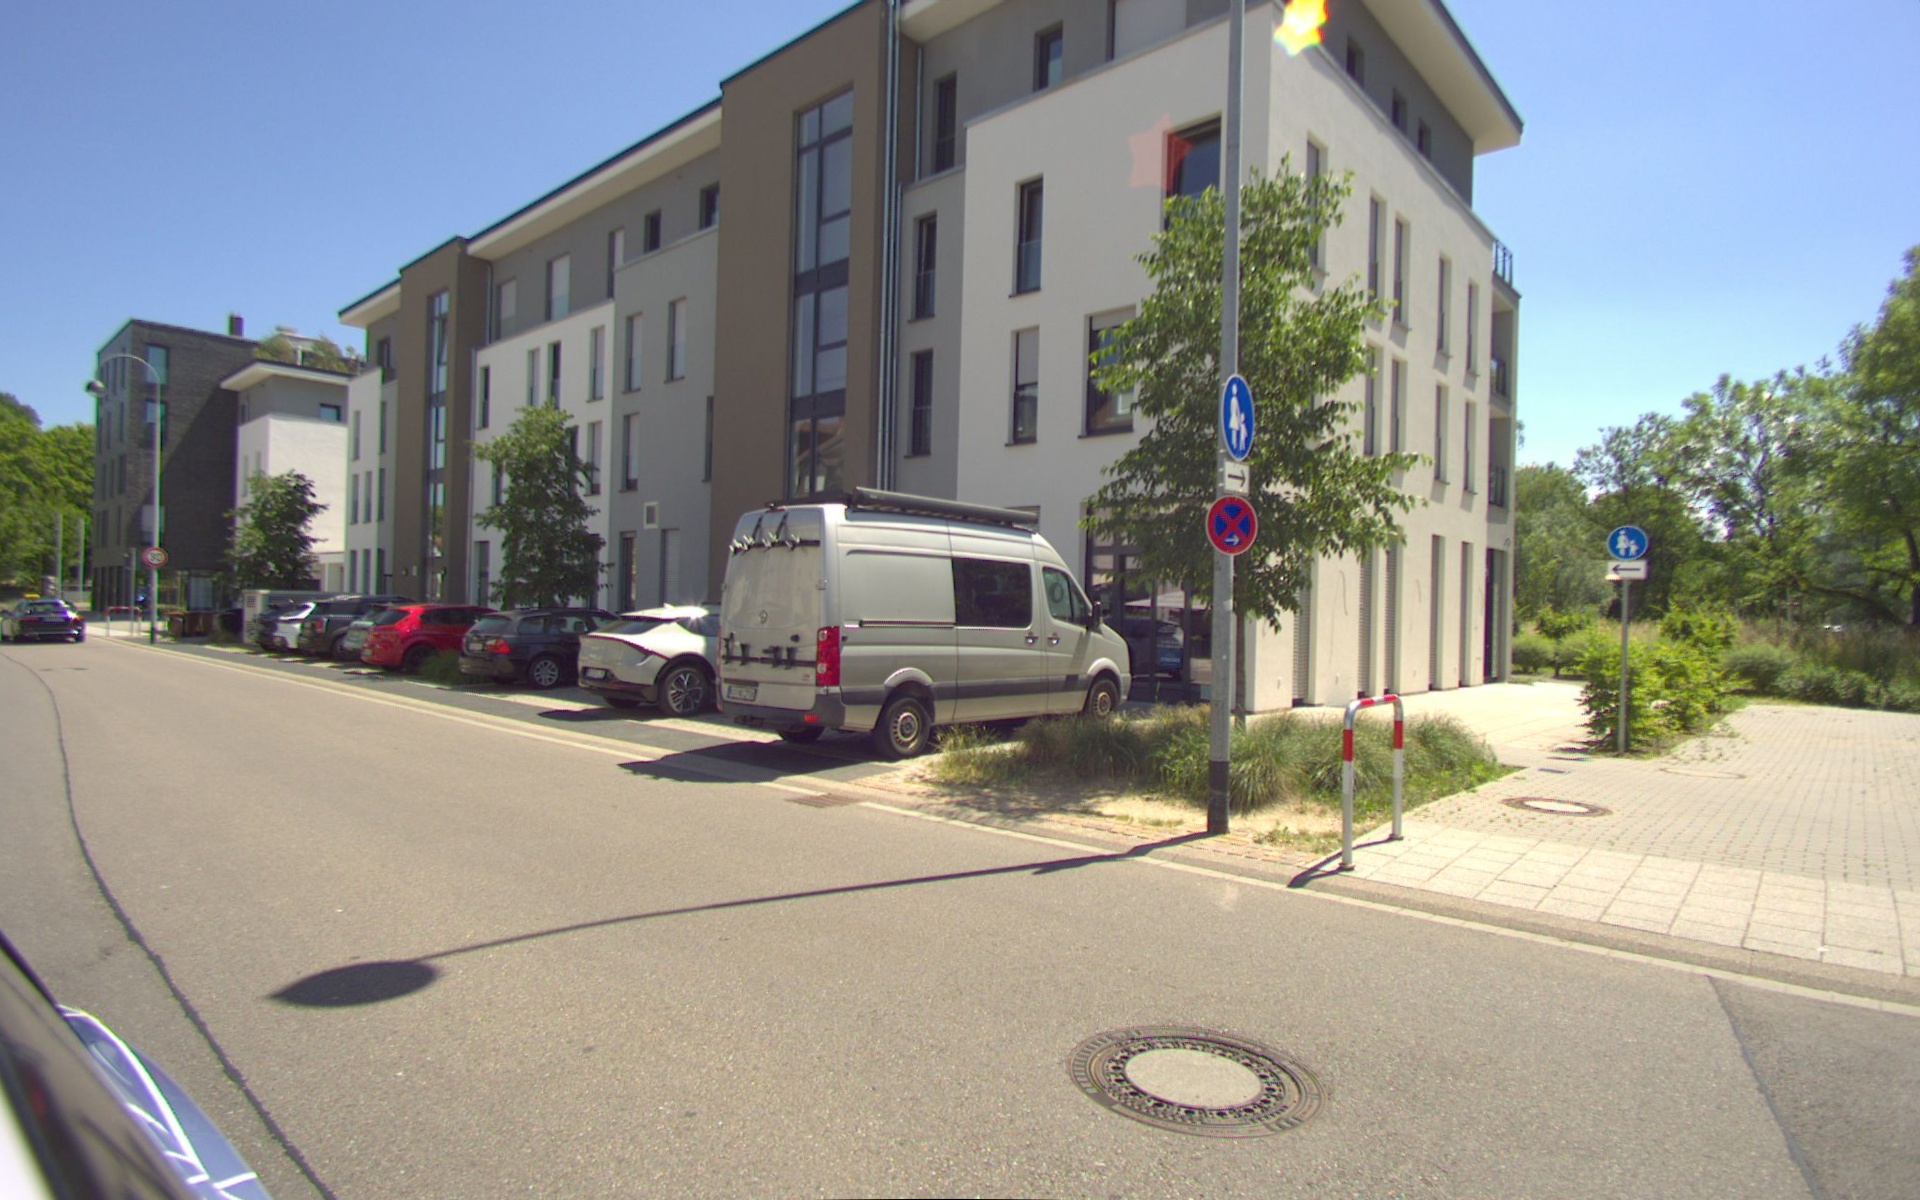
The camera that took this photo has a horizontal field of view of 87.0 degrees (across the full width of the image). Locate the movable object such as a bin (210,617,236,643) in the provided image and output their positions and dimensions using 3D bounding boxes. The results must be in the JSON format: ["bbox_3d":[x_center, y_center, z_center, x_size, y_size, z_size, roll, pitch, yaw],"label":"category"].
[{"bbox_3d":[-25.524,1.020,35.048,0.479,0.874,0.551,1,0,25],"label":"movable object such as a bin"}]

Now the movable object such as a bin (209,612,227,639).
[{"bbox_3d":[-27.662,0.950,37.732,0.555,1.005,0.399,1,0,41],"label":"movable object such as a bin"}]

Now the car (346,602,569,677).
[{"bbox_3d":[-10.984,0.788,22.281,2.001,1.441,3.987,1,1,44],"label":"car"}]

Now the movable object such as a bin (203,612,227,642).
[{"bbox_3d":[-26.375,0.950,35.829,0.559,1.028,0.549,1,0,38],"label":"movable object such as a bin"}]

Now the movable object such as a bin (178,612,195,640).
[{"bbox_3d":[-28.289,0.950,37.014,0.555,1.005,0.399,1,0,41],"label":"movable object such as a bin"}]

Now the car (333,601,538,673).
[{"bbox_3d":[-12.554,0.815,24.353,2.001,1.508,3.987,1,1,44],"label":"car"}]

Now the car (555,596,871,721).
[{"bbox_3d":[-3.663,0.759,15.610,2.000,1.603,4.406,1,1,42],"label":"car"}]

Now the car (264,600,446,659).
[{"bbox_3d":[-16.581,0.755,27.849,1.910,1.432,3.944,1,1,43],"label":"car"}]

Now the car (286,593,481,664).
[{"bbox_3d":[-14.773,0.664,26.050,2.001,1.663,3.987,1,1,44],"label":"car"}]

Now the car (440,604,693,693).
[{"bbox_3d":[-7.385,0.829,19.324,1.883,1.448,4.160,1,1,38],"label":"car"}]

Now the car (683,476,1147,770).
[{"bbox_3d":[-0.251,0.184,12.331,2.292,2.753,5.704,1,1,43],"label":"car"}]

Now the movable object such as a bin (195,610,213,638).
[{"bbox_3d":[-27.941,0.881,37.399,0.555,1.005,0.399,1,0,41],"label":"movable object such as a bin"}]

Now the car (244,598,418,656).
[{"bbox_3d":[-18.282,0.726,29.527,2.000,1.527,3.943,0,1,43],"label":"car"}]

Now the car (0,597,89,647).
[{"bbox_3d":[-31.009,0.692,34.209,4.798,1.565,1.873,0,0,43],"label":"car"}]

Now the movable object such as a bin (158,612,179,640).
[{"bbox_3d":[-28.603,0.946,36.577,0.587,1.005,0.478,1,0,41],"label":"movable object such as a bin"}]
